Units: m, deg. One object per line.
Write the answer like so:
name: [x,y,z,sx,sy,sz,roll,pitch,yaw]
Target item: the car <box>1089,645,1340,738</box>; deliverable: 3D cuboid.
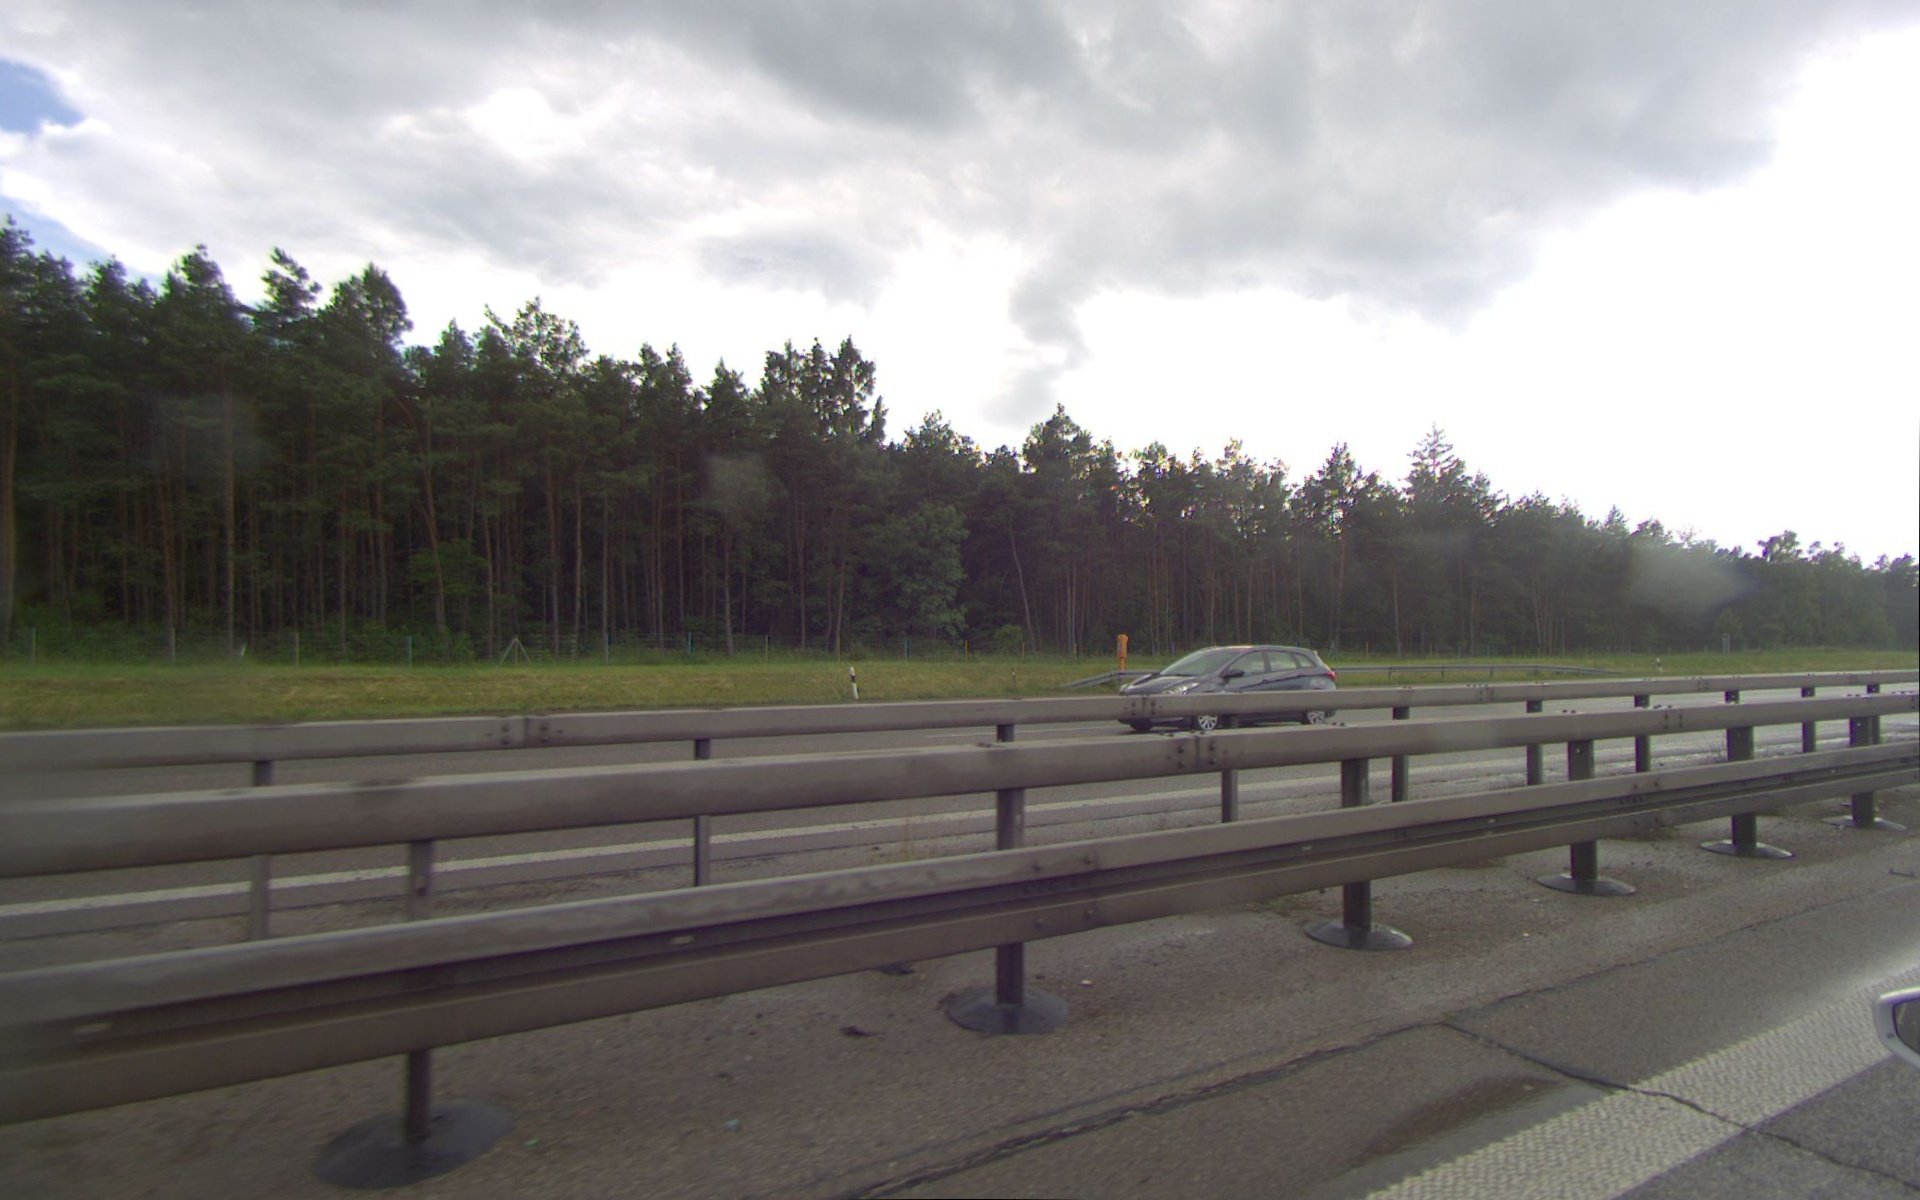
car: [4.463,1.530,17.500,4.187,1.440,1.803,2,-4,-31]
